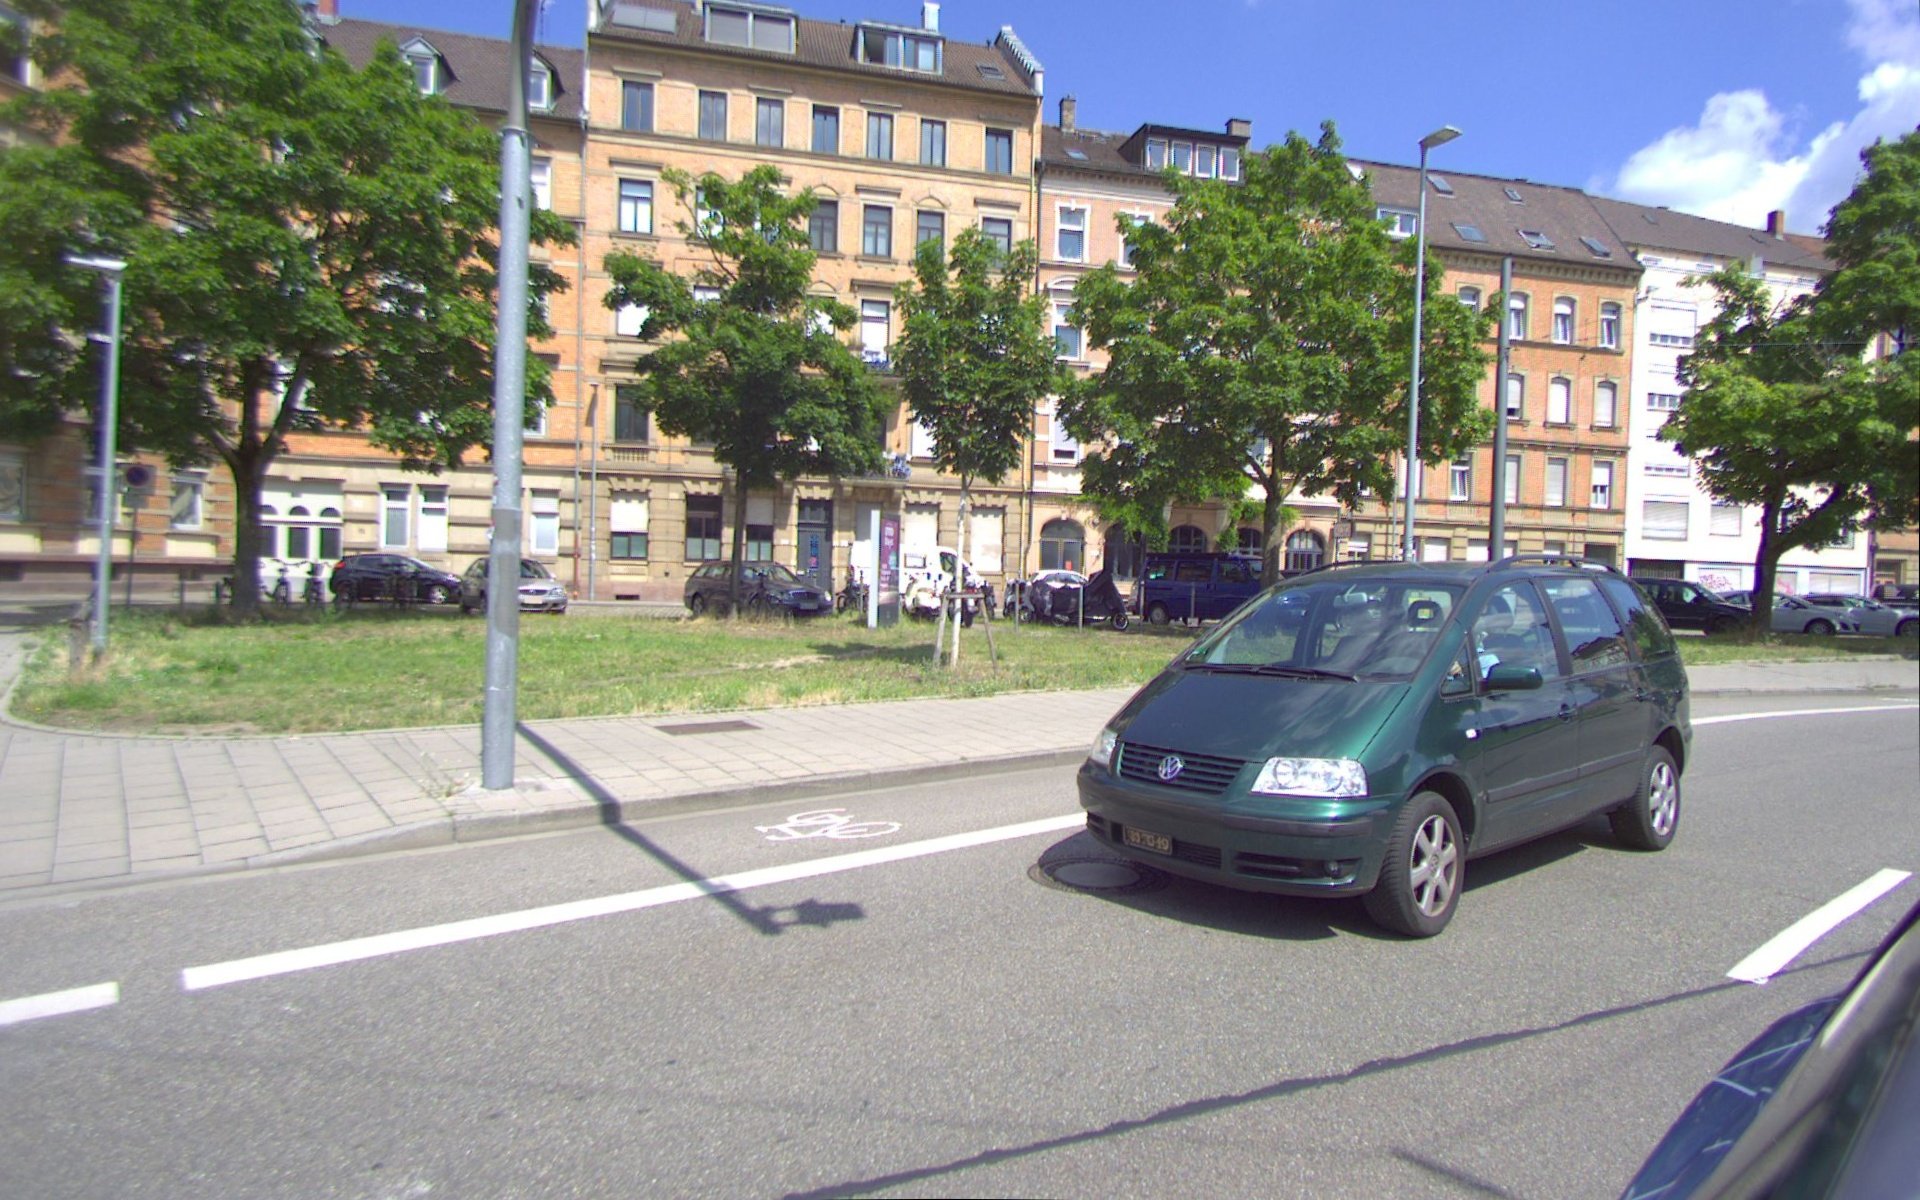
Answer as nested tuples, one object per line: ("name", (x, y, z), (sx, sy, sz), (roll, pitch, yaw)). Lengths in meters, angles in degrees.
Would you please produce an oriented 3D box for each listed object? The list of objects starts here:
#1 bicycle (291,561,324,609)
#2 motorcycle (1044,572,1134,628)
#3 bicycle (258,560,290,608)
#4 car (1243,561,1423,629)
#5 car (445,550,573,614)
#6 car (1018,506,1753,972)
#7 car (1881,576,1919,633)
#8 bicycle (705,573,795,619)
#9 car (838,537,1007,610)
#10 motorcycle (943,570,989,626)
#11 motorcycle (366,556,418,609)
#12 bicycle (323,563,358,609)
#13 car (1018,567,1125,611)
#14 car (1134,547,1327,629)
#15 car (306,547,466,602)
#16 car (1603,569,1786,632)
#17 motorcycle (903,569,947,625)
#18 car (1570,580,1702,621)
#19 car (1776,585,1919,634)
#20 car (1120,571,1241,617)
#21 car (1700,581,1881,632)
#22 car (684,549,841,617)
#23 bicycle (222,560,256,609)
("bicycle", (-14.324, -0.324, 22.183), (0.533, 0.981, 2.392), (1, 0, -34))
("motorcycle", (2.806, -0.008, 22.182), (1.871, 1.181, 0.640), (1, 1, 1))
("bicycle", (-14.819, -0.341, 21.846), (0.533, 0.981, 2.392), (1, 0, -34))
("car", (9.906, -0.134, 27.149), (1.881, 1.677, 4.172), (1, 0, -37))
("car", (-10.047, -0.383, 22.393), (1.828, 1.260, 4.165), (1, 0, -35))
("car", (2.827, 0.526, 6.085), (4.937, 1.778, 1.824), (0, 0, -37))
("car", (31.675, 0.165, 31.558), (4.351, 1.763, 1.823), (1, 0, 43))
("bicycle", (-4.313, -0.081, 20.782), (1.783, 0.913, 0.545), (1, 0, -15))
("car", (-1.282, -0.840, 33.285), (5.282, 2.206, 2.121), (1, 0, -11))
("motorcycle", (0.115, -0.068, 22.408), (0.626, 1.181, 1.793), (1, 1, -13))
("motorcycle", (-12.870, -0.382, 22.900), (0.797, 1.139, 2.392), (1, 0, -34))
("bicycle", (-13.806, -0.312, 22.537), (0.533, 0.968, 2.392), (1, 0, -34))
("car", (3.785, -0.381, 34.576), (3.282, 1.420, 1.571), (1, 1, -8))
("car", (6.994, -0.312, 26.535), (1.883, 1.952, 4.622), (1, 0, -41))
("car", (-16.940, -0.738, 30.039), (3.773, 1.510, 1.667), (1, 0, -11))
("car", (21.844, -0.014, 30.210), (1.820, 1.763, 4.143), (1, 0, -41))
("motorcycle", (-0.792, -0.082, 22.219), (0.626, 1.181, 1.793), (1, 1, -13))
("car", (26.104, 0.025, 39.136), (4.139, 1.510, 1.841), (1, 0, -11))
("car", (28.008, 0.272, 30.892), (1.822, 1.398, 4.680), (1, 0, -45))
("car", (7.698, -0.218, 35.424), (3.773, 1.510, 1.667), (1, 0, -11))
("car", (24.907, 0.154, 30.438), (4.072, 1.423, 1.823), (1, 0, 44))
("car", (-4.720, -0.434, 23.730), (1.773, 1.445, 4.255), (1, 2, -40))
("bicycle", (-15.301, -0.335, 21.497), (0.533, 0.981, 2.392), (1, 0, -34))
